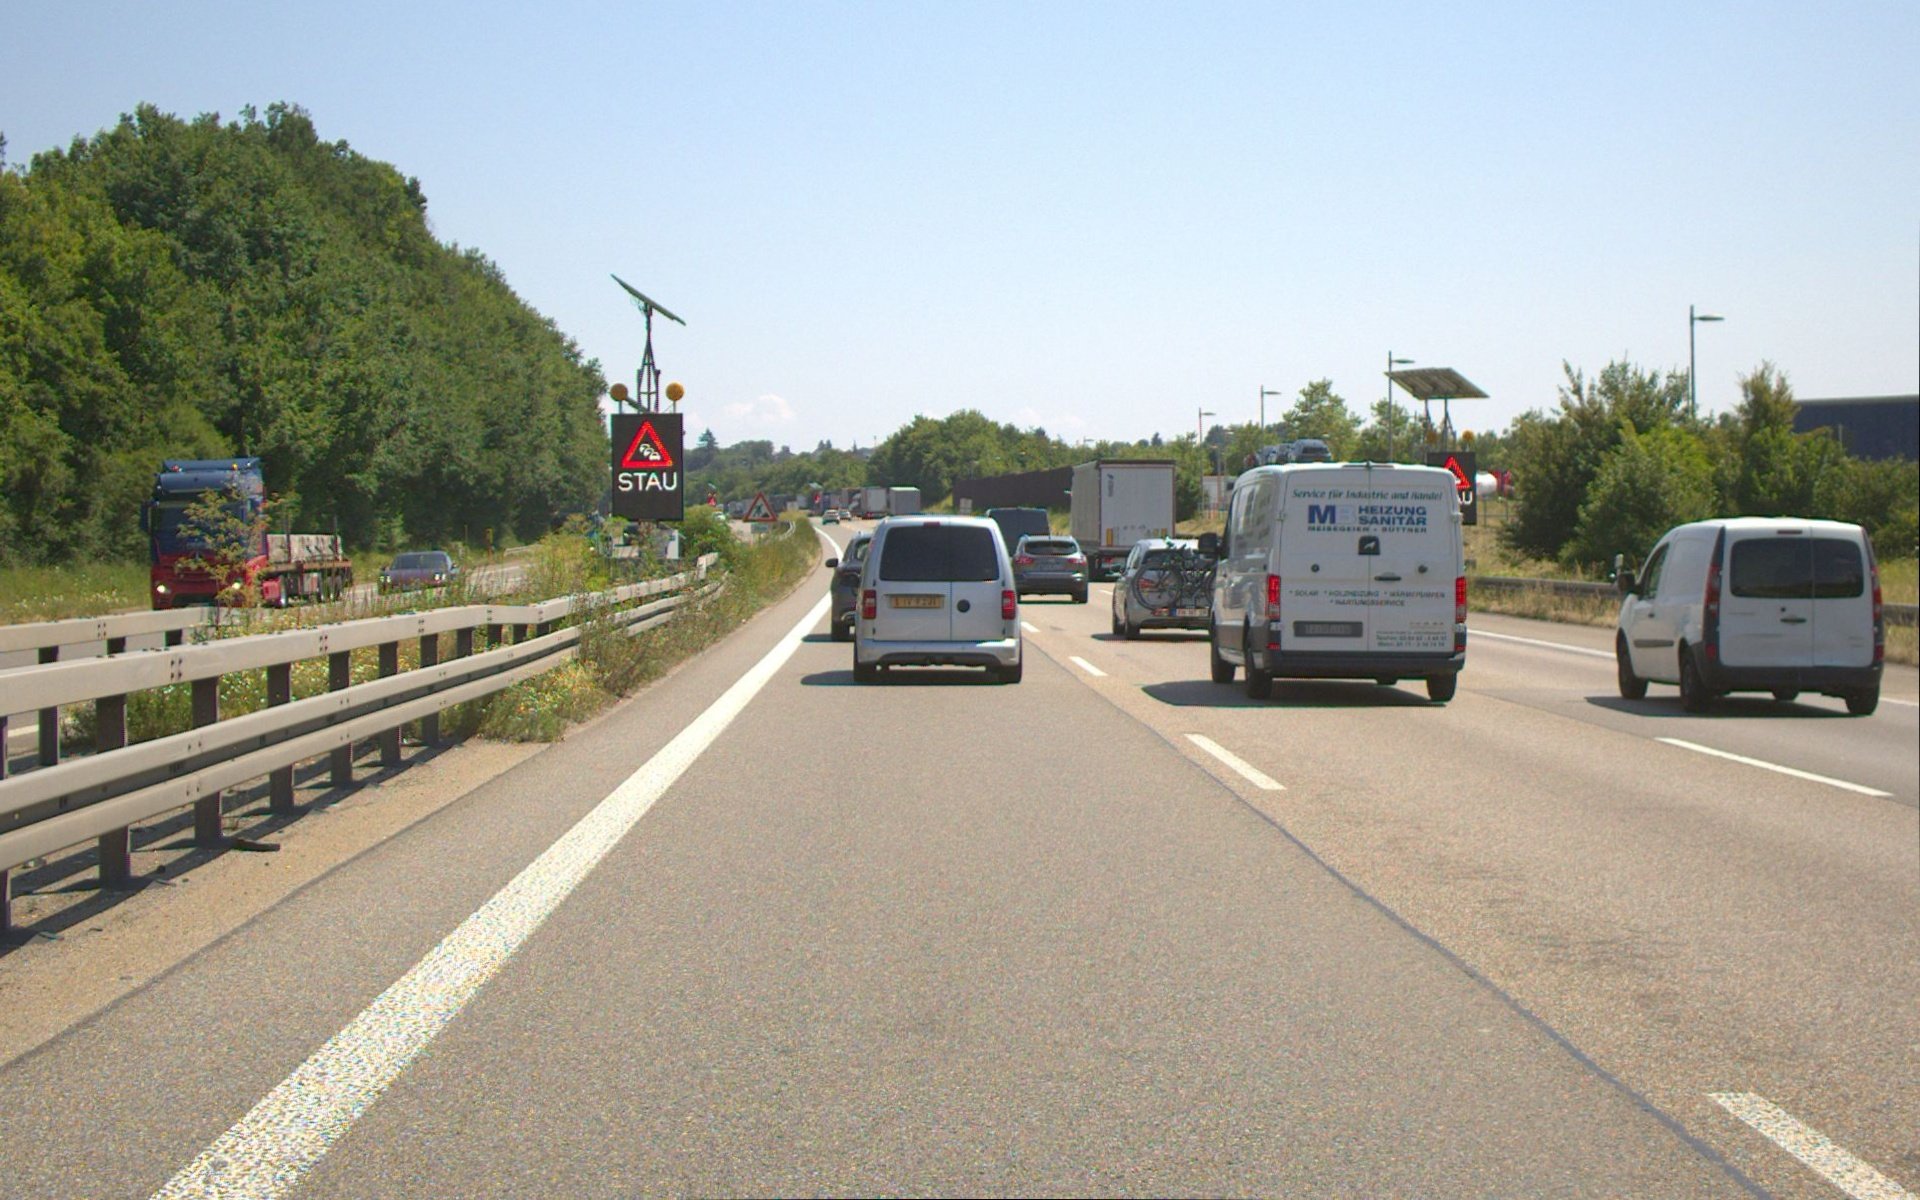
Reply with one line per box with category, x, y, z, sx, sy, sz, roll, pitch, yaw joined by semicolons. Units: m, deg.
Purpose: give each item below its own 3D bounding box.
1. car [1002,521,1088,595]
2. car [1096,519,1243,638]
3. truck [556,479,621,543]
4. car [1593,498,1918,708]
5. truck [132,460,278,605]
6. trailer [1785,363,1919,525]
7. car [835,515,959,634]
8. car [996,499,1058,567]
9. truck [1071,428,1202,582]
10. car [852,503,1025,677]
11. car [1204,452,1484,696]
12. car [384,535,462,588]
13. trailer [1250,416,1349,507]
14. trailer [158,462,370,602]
car;1.973;-1.000;80.888;1.902;1.666;4.089;-1;1;0
car;3.185;-0.353;52.937;1.976;1.727;4.089;-1;1;0
truck;-22.563;-5.387;209.494;2.996;3.789;10.791;-1;1;-1
car;7.458;-0.011;32.634;1.950;1.831;4.179;-1;1;-2
truck;-18.955;-1.708;86.488;2.996;3.546;3.118;-1;1;-1
trailer;25.944;-4.112;93.607;3.052;4.069;14.260;1;1;-2
car;-0.911;-0.408;51.810;1.745;1.695;4.089;-1;1;0
car;1.902;-1.925;98.480;1.674;1.885;4.089;-1;1;0
truck;6.017;-3.243;119.458;3.788;4.982;12.519;1;1;0
car;-0.226;-0.146;37.378;1.745;1.758;4.089;-1;1;0
car;3.758;-0.298;34.619;2.181;2.246;5.363;1;1;0
car;-14.714;-1.075;94.384;1.769;1.330;4.922;-2;1;-5
trailer;17.323;-7.013;176.681;2.605;4.243;18.424;1;1;-2
trailer;-19.186;-1.914;96.058;2.996;3.546;16.025;-1;1;-1
